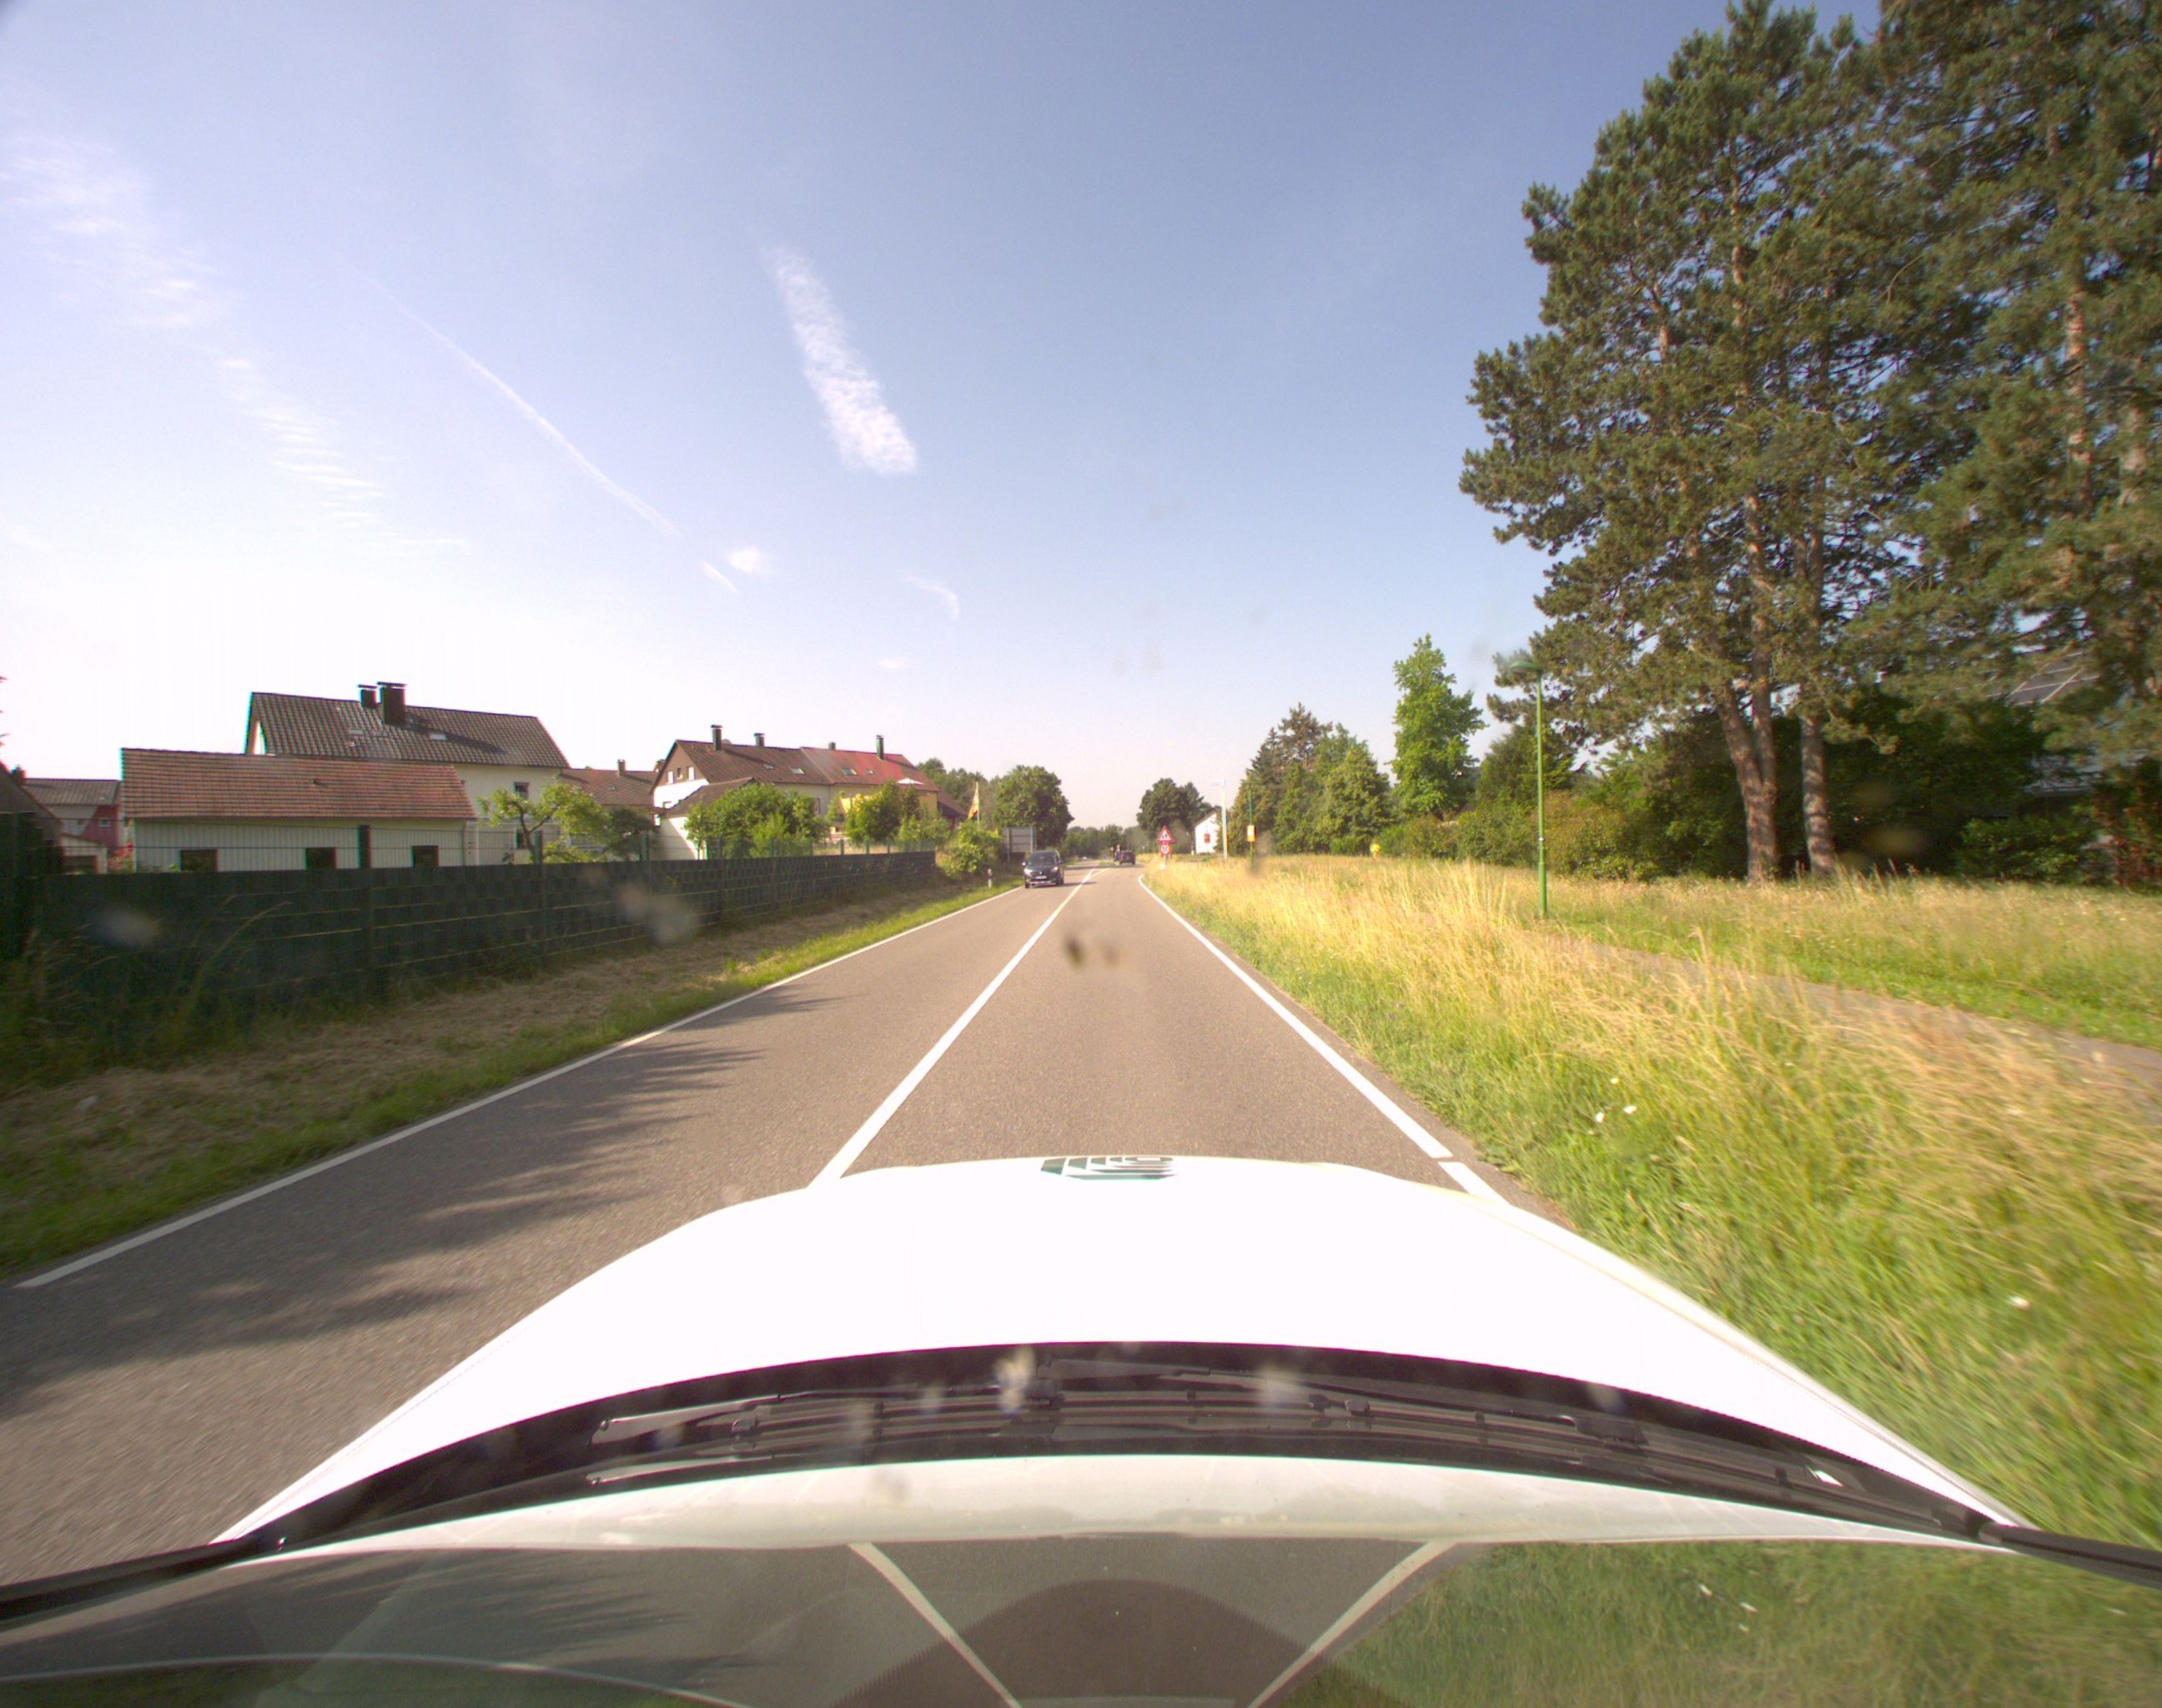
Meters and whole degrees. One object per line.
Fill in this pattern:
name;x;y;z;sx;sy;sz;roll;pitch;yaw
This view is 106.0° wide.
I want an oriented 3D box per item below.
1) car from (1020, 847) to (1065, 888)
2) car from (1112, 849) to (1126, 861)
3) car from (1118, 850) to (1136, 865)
car;-1.867;0.644;40.443;1.933;1.817;4.241;-3;0;0
car;5.981;0.167;128.768;1.999;1.771;3.997;-2;0;-2
car;5.823;0.410;103.062;1.919;1.771;3.999;-2;0;0
